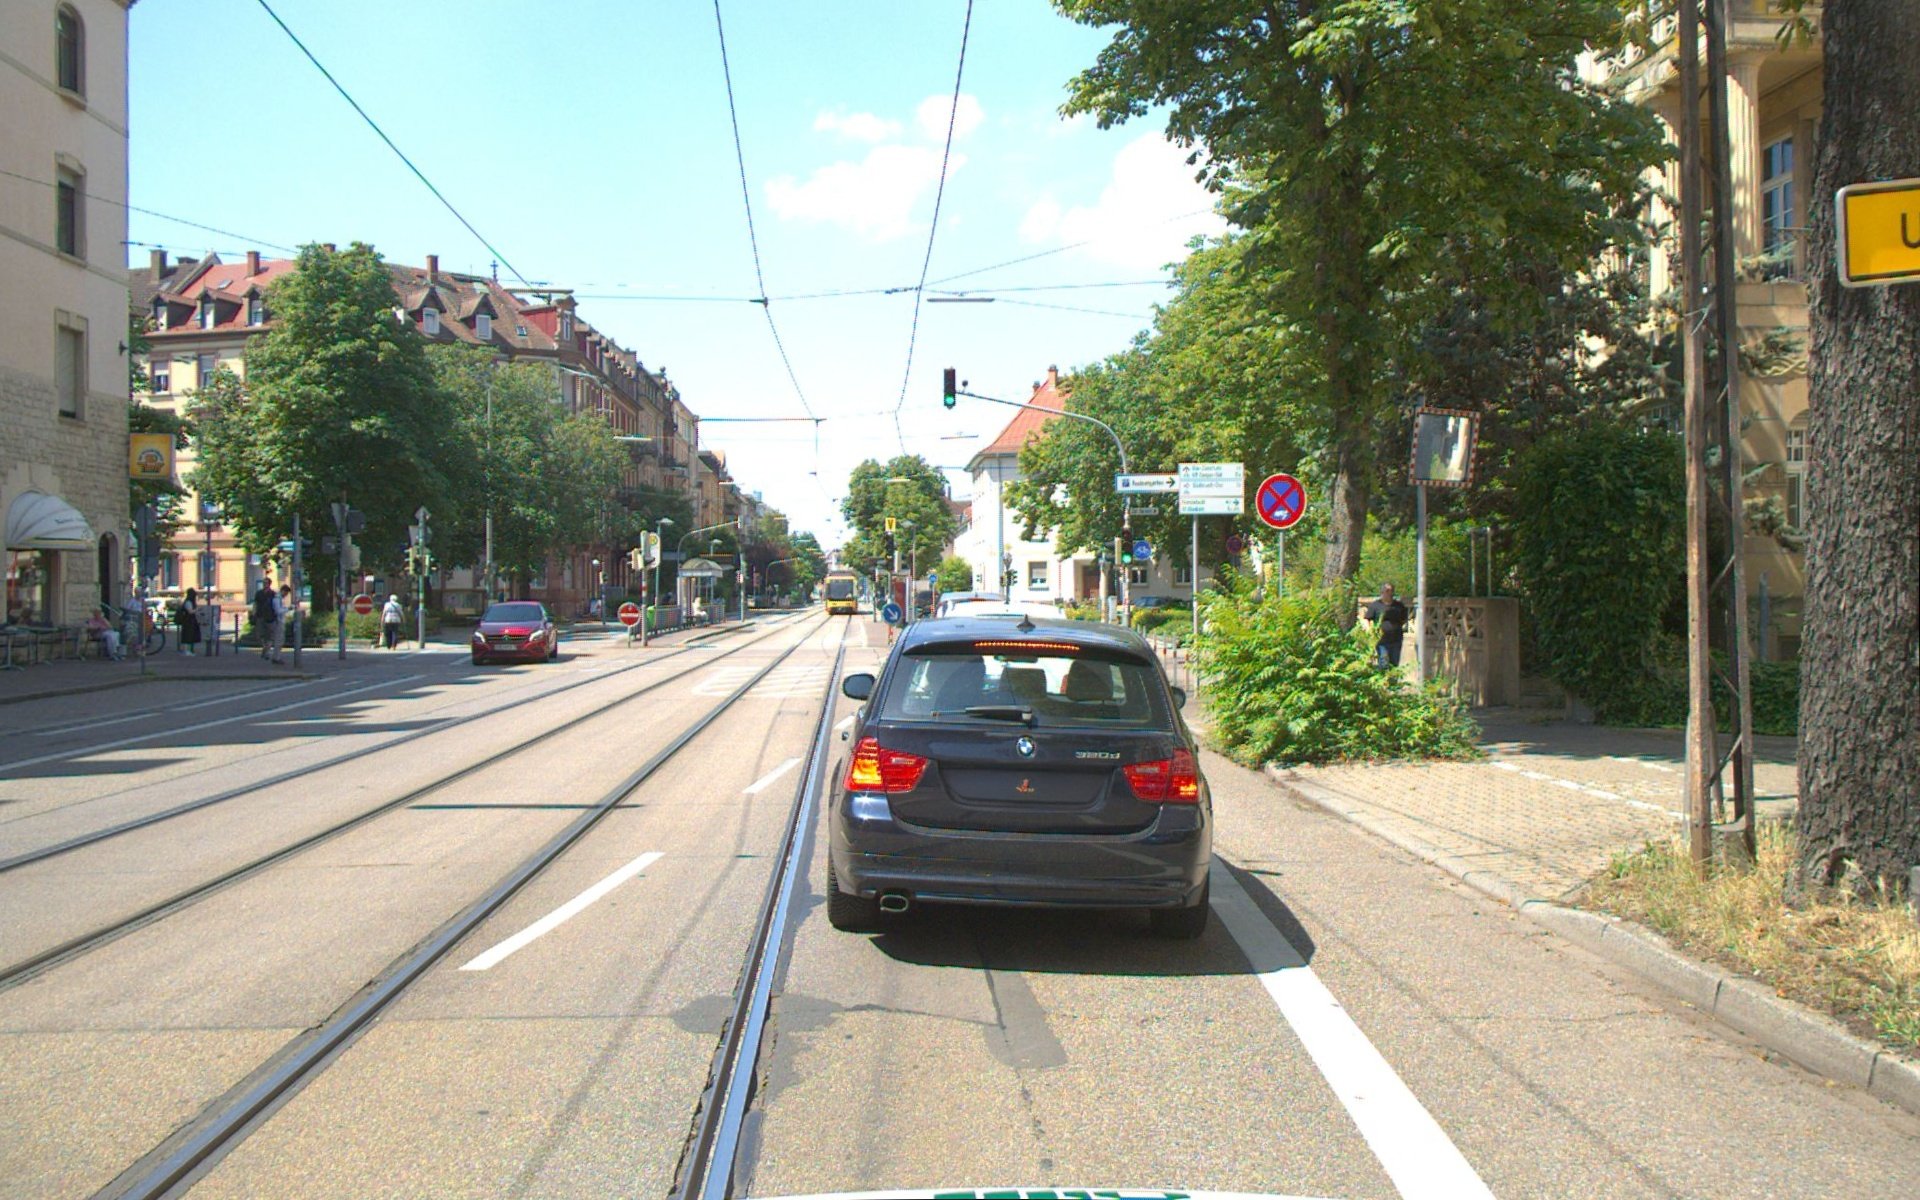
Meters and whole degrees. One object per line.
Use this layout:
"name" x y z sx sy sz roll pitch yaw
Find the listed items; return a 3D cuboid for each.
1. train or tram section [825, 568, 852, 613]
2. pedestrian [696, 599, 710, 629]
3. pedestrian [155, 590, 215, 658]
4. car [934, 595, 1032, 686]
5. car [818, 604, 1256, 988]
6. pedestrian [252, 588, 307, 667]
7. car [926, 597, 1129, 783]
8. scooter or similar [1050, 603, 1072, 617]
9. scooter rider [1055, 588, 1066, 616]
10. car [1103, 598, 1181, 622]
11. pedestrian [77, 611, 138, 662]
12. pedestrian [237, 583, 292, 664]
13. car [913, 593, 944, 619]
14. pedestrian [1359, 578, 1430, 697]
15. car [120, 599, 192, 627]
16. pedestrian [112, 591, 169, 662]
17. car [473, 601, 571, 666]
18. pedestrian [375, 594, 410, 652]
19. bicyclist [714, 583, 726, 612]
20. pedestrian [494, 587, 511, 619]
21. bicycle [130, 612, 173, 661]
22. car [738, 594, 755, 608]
"train or tram section" -9.987 -0.754 136.228 2.147 3.543 8.838 0 0 -4
"pedestrian" -11.194 0.607 72.133 0.602 1.264 0.626 0 0 -9
"pedestrian" -19.006 0.579 40.566 1.001 1.664 0.863 0 0 18
"car" 0.384 0.688 30.199 1.656 1.540 3.821 1 0 0
"car" 0.365 0.777 8.813 1.687 1.433 4.566 2 0 2
"pedestrian" -15.396 0.618 37.419 0.841 1.763 0.776 1 0 7
"car" 0.524 0.740 15.523 1.651 1.510 3.683 0 0 -2
"scooter or similar" 6.202 0.606 101.593 1.287 0.852 0.525 0 0 -9
"scooter rider" 6.188 0.122 101.601 0.579 1.716 0.527 0 0 -9
"car" 9.855 0.554 89.507 3.914 1.265 1.620 0 0 32
"pedestrian" -18.642 0.787 36.196 0.897 1.096 0.882 0 0 -3
"pedestrian" -16.837 0.566 40.052 0.883 1.924 1.163 0 0 -4
"car" -2.363 0.410 122.843 1.956 1.881 3.994 0 0 -7
"pedestrian" 6.212 0.531 23.693 0.839 1.674 0.837 -1 0 5
"car" -44.006 0.684 90.514 3.388 1.497 1.685 0 0 21
"pedestrian" -18.873 0.606 38.086 0.899 1.622 0.808 0 0 27
"car" -10.647 0.775 40.444 1.789 1.438 4.420 -2 0 -9
"pedestrian" -17.352 0.684 50.559 0.900 1.753 0.838 0 0 -13
"bicyclist" -16.206 -0.171 111.691 0.708 1.903 0.824 0 0 -6
"pedestrian" -26.715 0.173 96.531 0.734 1.843 0.631 0 0 -41
"bicycle" -19.449 0.883 39.762 0.539 1.148 1.658 0 -2 -40
"car" -25.306 0.155 195.972 1.756 1.614 3.988 1 -1 -12
